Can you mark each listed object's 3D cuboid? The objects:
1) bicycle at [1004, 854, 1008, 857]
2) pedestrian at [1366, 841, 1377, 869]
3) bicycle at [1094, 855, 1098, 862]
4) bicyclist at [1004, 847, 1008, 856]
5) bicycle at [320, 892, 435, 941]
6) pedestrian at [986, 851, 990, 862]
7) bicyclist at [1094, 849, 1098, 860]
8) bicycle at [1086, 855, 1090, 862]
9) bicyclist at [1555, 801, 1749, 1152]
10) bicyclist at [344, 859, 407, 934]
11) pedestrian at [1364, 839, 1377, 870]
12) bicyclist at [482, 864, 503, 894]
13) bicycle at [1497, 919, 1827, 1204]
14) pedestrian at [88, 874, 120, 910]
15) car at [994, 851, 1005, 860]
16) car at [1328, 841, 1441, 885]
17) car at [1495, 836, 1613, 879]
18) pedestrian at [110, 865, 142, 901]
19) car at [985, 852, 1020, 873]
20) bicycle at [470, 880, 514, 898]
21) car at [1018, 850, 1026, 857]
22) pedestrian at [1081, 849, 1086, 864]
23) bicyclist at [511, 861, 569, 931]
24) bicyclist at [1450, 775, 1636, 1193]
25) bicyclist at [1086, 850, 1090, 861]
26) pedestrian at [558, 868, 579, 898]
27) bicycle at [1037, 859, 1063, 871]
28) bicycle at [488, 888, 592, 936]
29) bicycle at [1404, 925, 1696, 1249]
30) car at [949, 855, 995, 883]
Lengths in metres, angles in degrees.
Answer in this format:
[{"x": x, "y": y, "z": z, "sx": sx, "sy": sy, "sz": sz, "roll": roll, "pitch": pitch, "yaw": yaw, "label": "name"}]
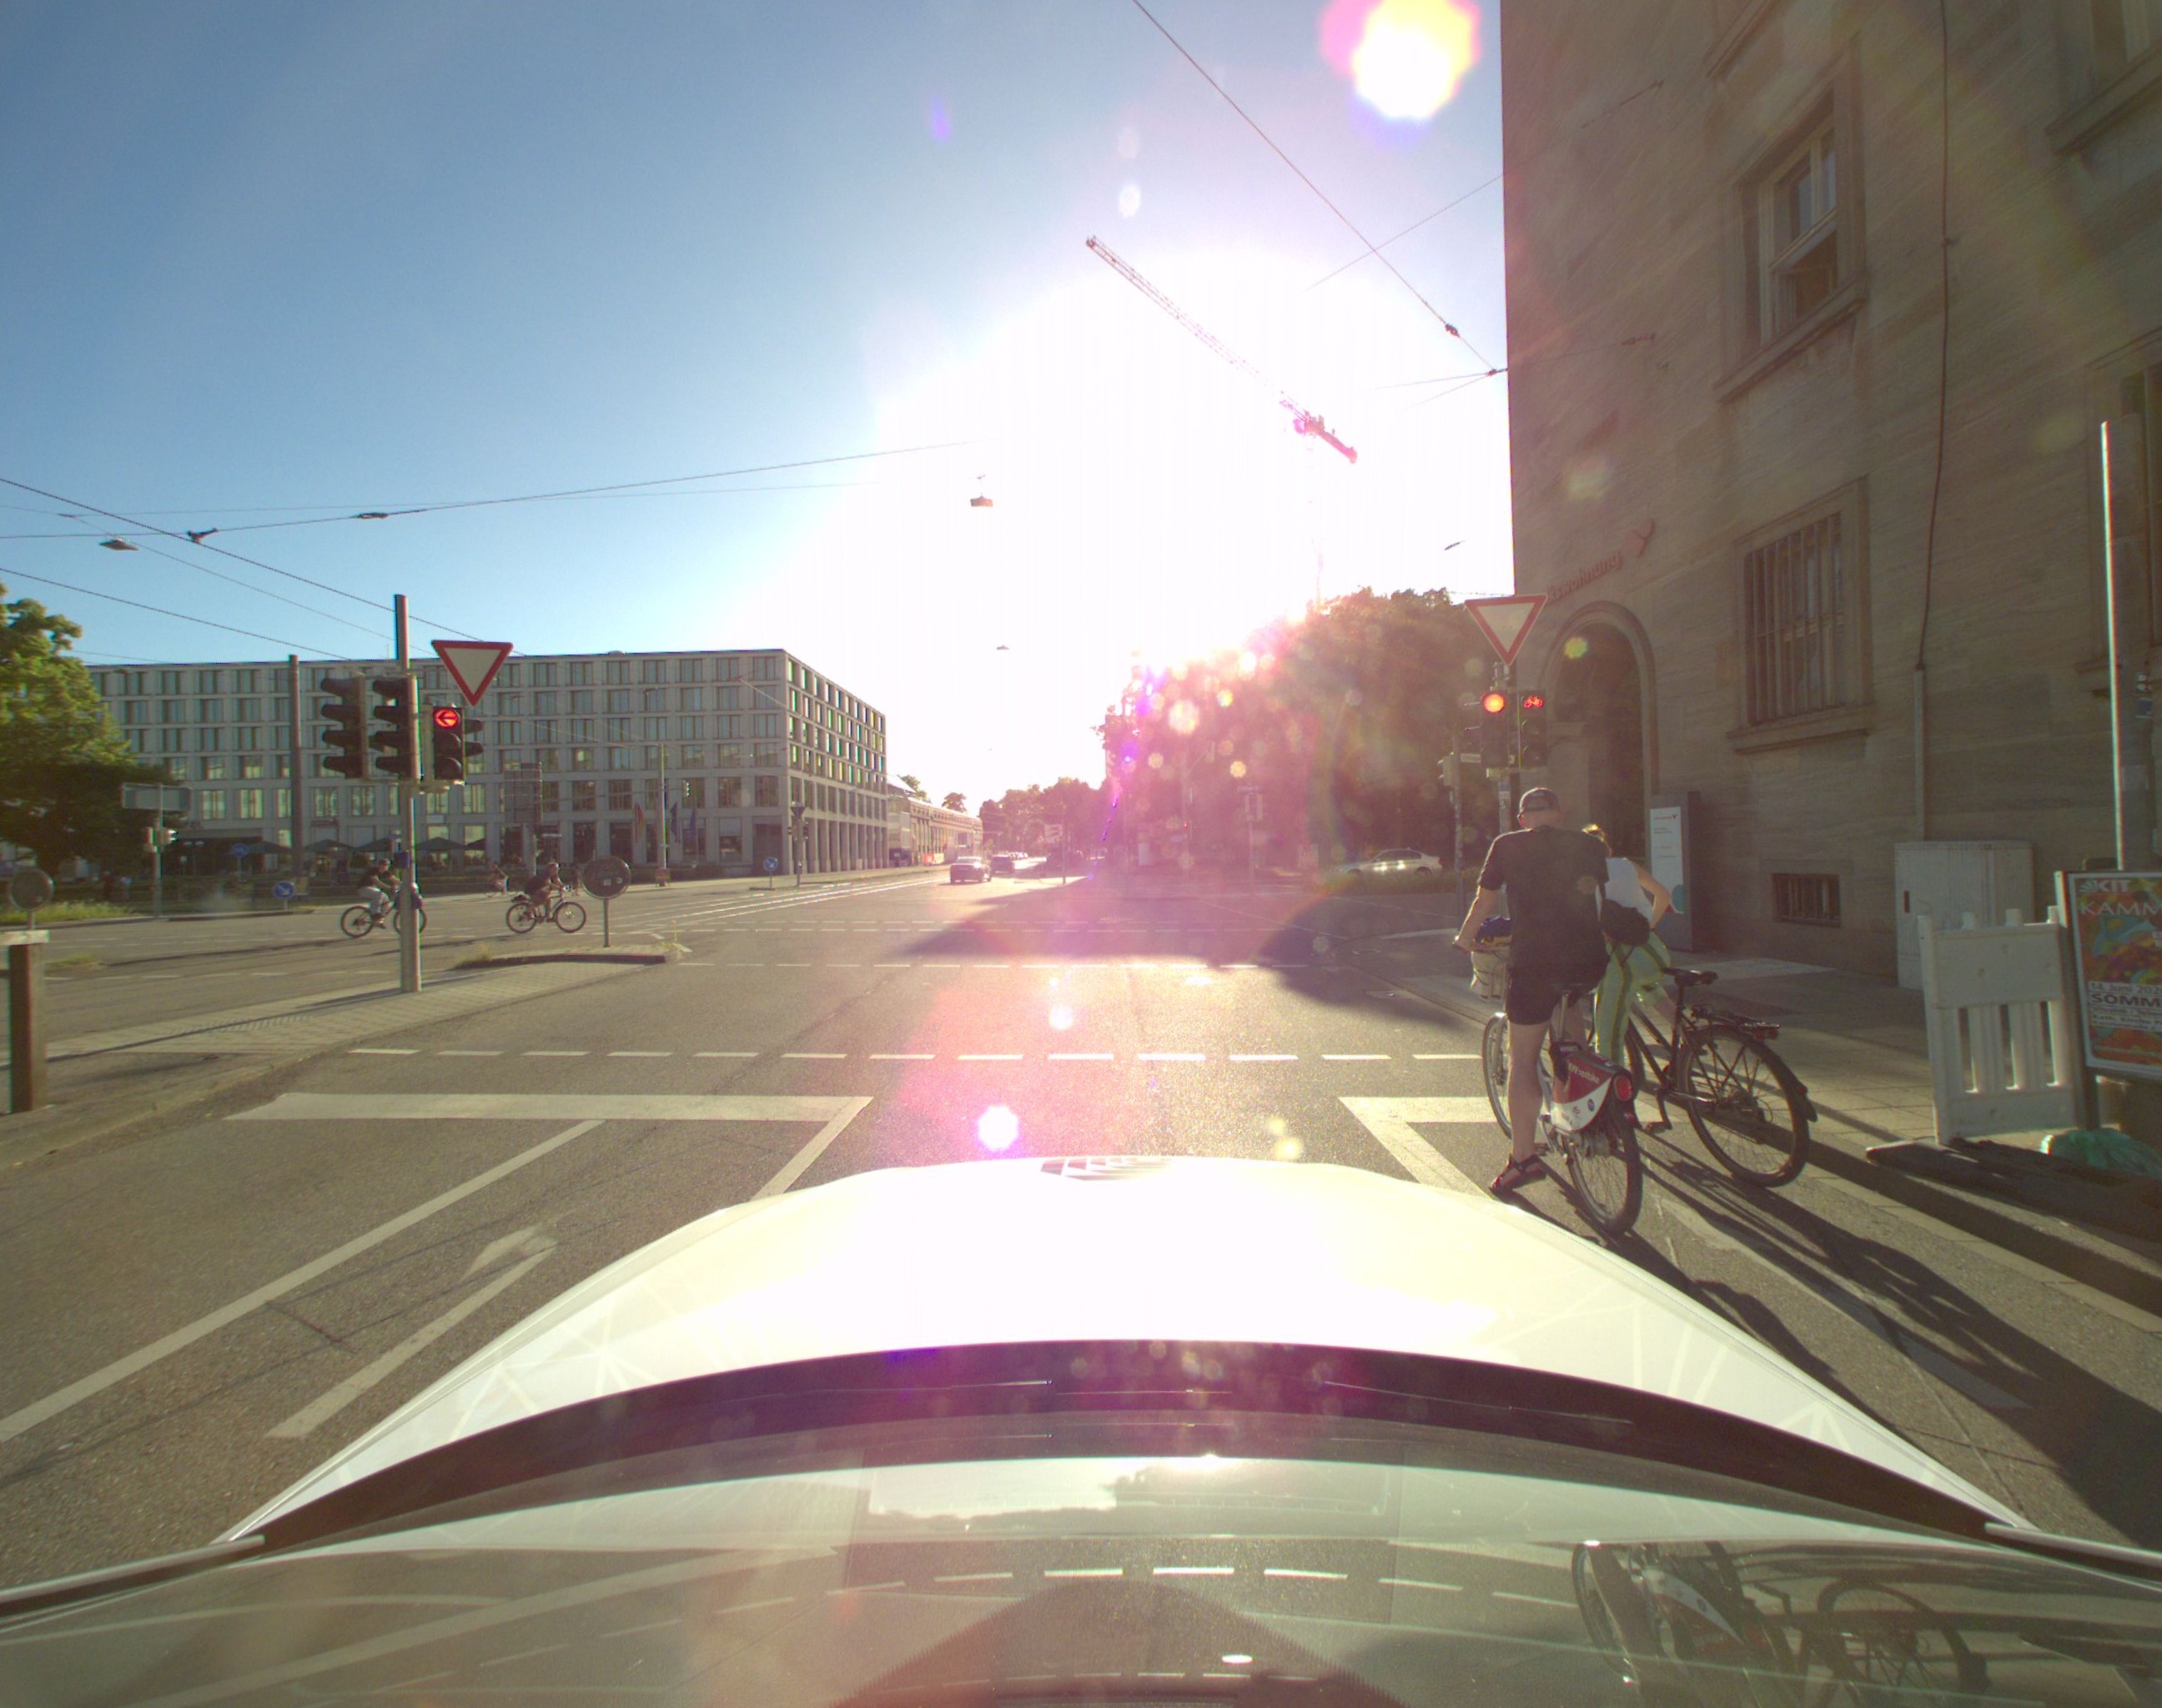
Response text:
[{"x": -12.436, "y": 0.217, "z": 134.634, "sx": 0.499, "sy": 0.515, "sz": 1.258, "roll": 0, "pitch": -1, "yaw": 1, "label": "bicycle"}, {"x": 15.853, "y": 0.064, "z": 44.417, "sx": 0.437, "sy": 1.503, "sz": 0.437, "roll": -2, "pitch": 0, "yaw": 3, "label": "pedestrian"}, {"x": 2.327, "y": 0.655, "z": 122.696, "sx": 0.573, "sy": 1.077, "sz": 1.831, "roll": -2, "pitch": 0, "yaw": 1, "label": "bicycle"}, {"x": -12.442, "y": -0.441, "z": 134.679, "sx": 0.594, "sy": 1.377, "sz": 0.637, "roll": 0, "pitch": -1, "yaw": 0, "label": "bicyclist"}, {"x": -14.803, "y": 1.303, "z": 17.167, "sx": 1.853, "sy": 0.935, "sz": 0.559, "roll": -2, "pitch": 0, "yaw": -4, "label": "bicycle"}, {"x": -18.389, "y": 0.510, "z": 161.314, "sx": 0.672, "sy": 2.014, "sz": 0.751, "roll": 0, "pitch": -1, "yaw": -1, "label": "pedestrian"}, {"x": 2.319, "y": 0.067, "z": 122.738, "sx": 0.567, "sy": 1.691, "sz": 0.700, "roll": -2, "pitch": 0, "yaw": 1, "label": "bicyclist"}, {"x": 1.007, "y": 0.664, "z": 122.565, "sx": 0.573, "sy": 1.077, "sz": 1.831, "roll": -2, "pitch": 0, "yaw": 1, "label": "bicycle"}, {"x": 2.953, "y": 0.592, "z": 4.266, "sx": 0.556, "sy": 1.691, "sz": 0.640, "roll": -1, "pitch": 0, "yaw": 0, "label": "bicyclist"}, {"x": -14.853, "y": 0.887, "z": 17.166, "sx": 0.761, "sy": 1.524, "sz": 0.606, "roll": -2, "pitch": 0, "yaw": -3, "label": "bicyclist"}, {"x": 15.608, "y": 0.037, "z": 43.925, "sx": 0.580, "sy": 1.663, "sz": 0.515, "roll": 0, "pitch": 1, "yaw": 4, "label": "pedestrian"}, {"x": -32.338, "y": 1.385, "z": 44.747, "sx": 0.752, "sy": 1.589, "sz": 0.782, "roll": -2, "pitch": 0, "yaw": 45, "label": "bicyclist"}, {"x": 2.942, "y": 0.959, "z": 4.373, "sx": 0.532, "sy": 1.077, "sz": 1.751, "roll": -1, "pitch": 0, "yaw": 1, "label": "bicycle"}, {"x": -53.769, "y": 2.083, "z": 44.808, "sx": 0.711, "sy": 1.900, "sz": 0.878, "roll": -1, "pitch": -1, "yaw": 12, "label": "pedestrian"}, {"x": -15.678, "y": 0.256, "z": 157.091, "sx": 1.688, "sy": 1.718, "sz": 4.245, "roll": 0, "pitch": -1, "yaw": -1, "label": "car"}, {"x": 12.344, "y": 0.351, "z": 33.276, "sx": 3.979, "sy": 1.611, "sz": 1.650, "roll": -2, "pitch": 0, "yaw": 1, "label": "car"}, {"x": 19.158, "y": 0.140, "z": 33.089, "sx": 3.835, "sy": 1.611, "sz": 1.650, "roll": -2, "pitch": 0, "yaw": 1, "label": "car"}, {"x": -53.705, "y": 1.623, "z": 45.803, "sx": 0.837, "sy": 2.014, "sz": 0.827, "roll": -1, "pitch": -1, "yaw": 11, "label": "pedestrian"}, {"x": -6.304, "y": 0.674, "z": 65.937, "sx": 1.882, "sy": 1.565, "sz": 4.815, "roll": 1, "pitch": 0, "yaw": 6, "label": "car"}, {"x": -32.335, "y": 1.912, "z": 44.724, "sx": 0.753, "sy": 0.935, "sz": 1.875, "roll": -2, "pitch": 0, "yaw": 44, "label": "bicycle"}, {"x": -14.252, "y": -0.129, "z": 195.340, "sx": 1.688, "sy": 1.718, "sz": 4.245, "roll": 0, "pitch": -1, "yaw": -1, "label": "car"}, {"x": 0.292, "y": 0.322, "z": 98.426, "sx": 0.462, "sy": 1.813, "sz": 0.502, "roll": -2, "pitch": 0, "yaw": -3, "label": "pedestrian"}, {"x": -11.618, "y": 0.884, "z": 17.496, "sx": 0.796, "sy": 1.450, "sz": 0.617, "roll": -1, "pitch": 0, "yaw": -3, "label": "bicyclist"}, {"x": 2.122, "y": 0.562, "z": 3.799, "sx": 0.556, "sy": 1.799, "sz": 0.551, "roll": -1, "pitch": 0, "yaw": 3, "label": "bicyclist"}, {"x": 0.993, "y": 0.233, "z": 122.566, "sx": 0.567, "sy": 1.691, "sz": 0.700, "roll": -2, "pitch": 0, "yaw": 1, "label": "bicyclist"}, {"x": -28.648, "y": 1.621, "z": 45.525, "sx": 0.775, "sy": 1.589, "sz": 0.589, "roll": -2, "pitch": 0, "yaw": -10, "label": "pedestrian"}, {"x": -2.576, "y": 0.903, "z": 67.723, "sx": 1.996, "sy": 0.891, "sz": 0.655, "roll": -4, "pitch": -1, "yaw": 29, "label": "bicycle"}, {"x": -11.599, "y": 1.237, "z": 17.491, "sx": 1.739, "sy": 0.935, "sz": 0.645, "roll": -2, "pitch": 0, "yaw": -3, "label": "bicycle"}, {"x": 2.120, "y": 0.959, "z": 3.956, "sx": 0.513, "sy": 1.077, "sz": 1.729, "roll": -1, "pitch": 0, "yaw": 4, "label": "bicycle"}, {"x": -6.170, "y": 0.821, "z": 46.415, "sx": 1.652, "sy": 1.455, "sz": 4.438, "roll": -1, "pitch": 0, "yaw": 5, "label": "car"}]
